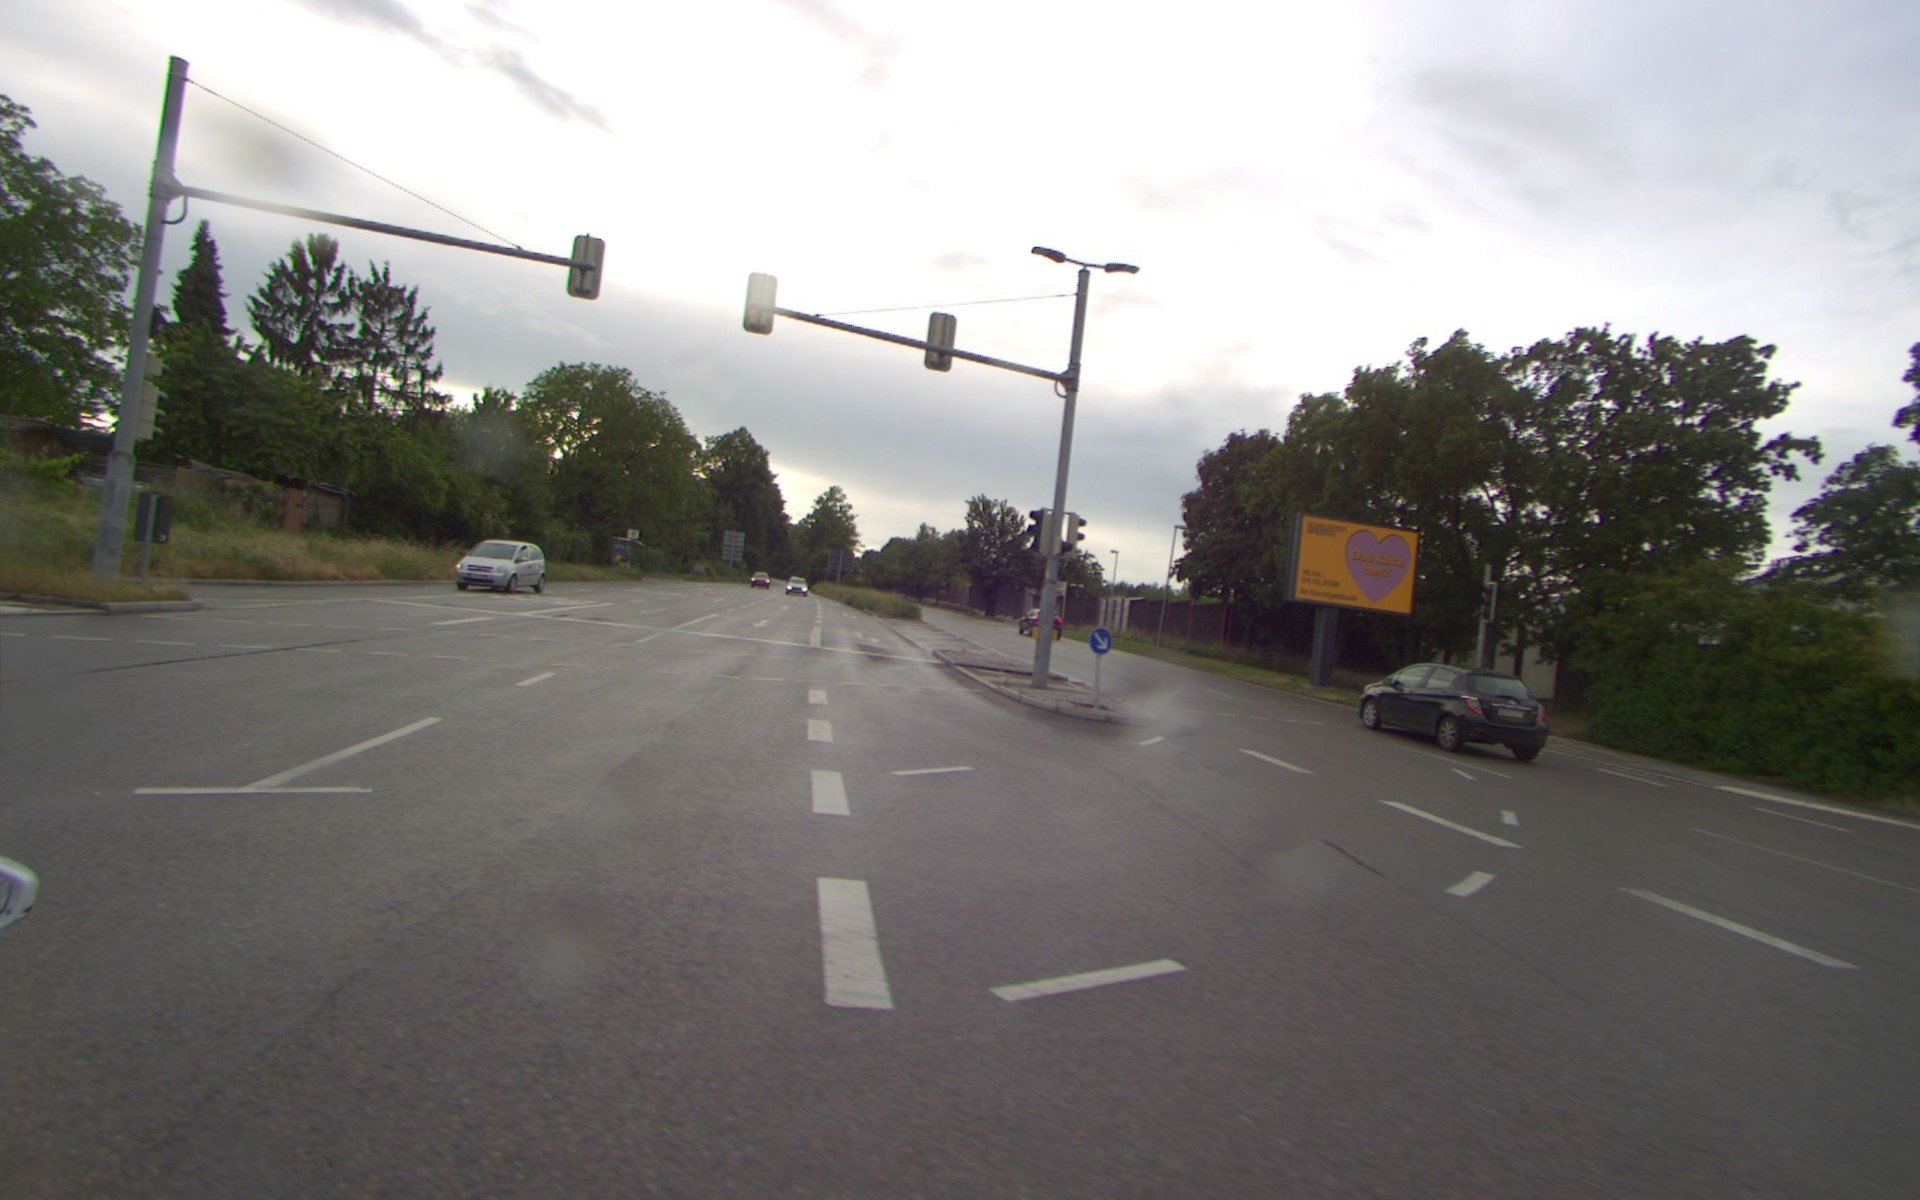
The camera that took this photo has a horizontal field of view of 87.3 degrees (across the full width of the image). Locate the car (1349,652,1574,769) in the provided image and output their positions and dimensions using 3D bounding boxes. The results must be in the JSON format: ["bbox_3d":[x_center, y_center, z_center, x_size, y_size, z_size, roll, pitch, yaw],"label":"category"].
[{"bbox_3d":[9.070,1.933,18.590,1.696,1.518,3.820,7,0,-8],"label":"car"}]

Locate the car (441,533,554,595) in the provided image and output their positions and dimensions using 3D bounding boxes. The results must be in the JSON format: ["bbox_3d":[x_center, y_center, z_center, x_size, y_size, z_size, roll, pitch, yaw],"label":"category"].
[{"bbox_3d":[-14.737,-1.102,32.300,1.790,1.624,4.060,7,0,-4],"label":"car"}]

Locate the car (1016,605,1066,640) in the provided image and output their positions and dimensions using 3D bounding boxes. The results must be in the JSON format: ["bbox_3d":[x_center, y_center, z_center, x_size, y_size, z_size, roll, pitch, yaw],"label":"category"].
[{"bbox_3d":[4.309,1.189,54.103,1.696,1.518,3.820,7,0,-8],"label":"car"}]

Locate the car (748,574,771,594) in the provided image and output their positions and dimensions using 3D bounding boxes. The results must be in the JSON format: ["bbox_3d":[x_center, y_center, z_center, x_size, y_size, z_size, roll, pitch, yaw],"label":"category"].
[{"bbox_3d":[-19.532,-1.566,98.154,1.792,1.695,4.004,7,0,-7],"label":"car"}]

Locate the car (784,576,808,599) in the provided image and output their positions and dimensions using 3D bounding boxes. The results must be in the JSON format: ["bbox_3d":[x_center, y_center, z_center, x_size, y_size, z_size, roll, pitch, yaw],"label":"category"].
[{"bbox_3d":[-14.010,-1.035,85.681,1.793,1.695,3.992,7,0,-10],"label":"car"}]
